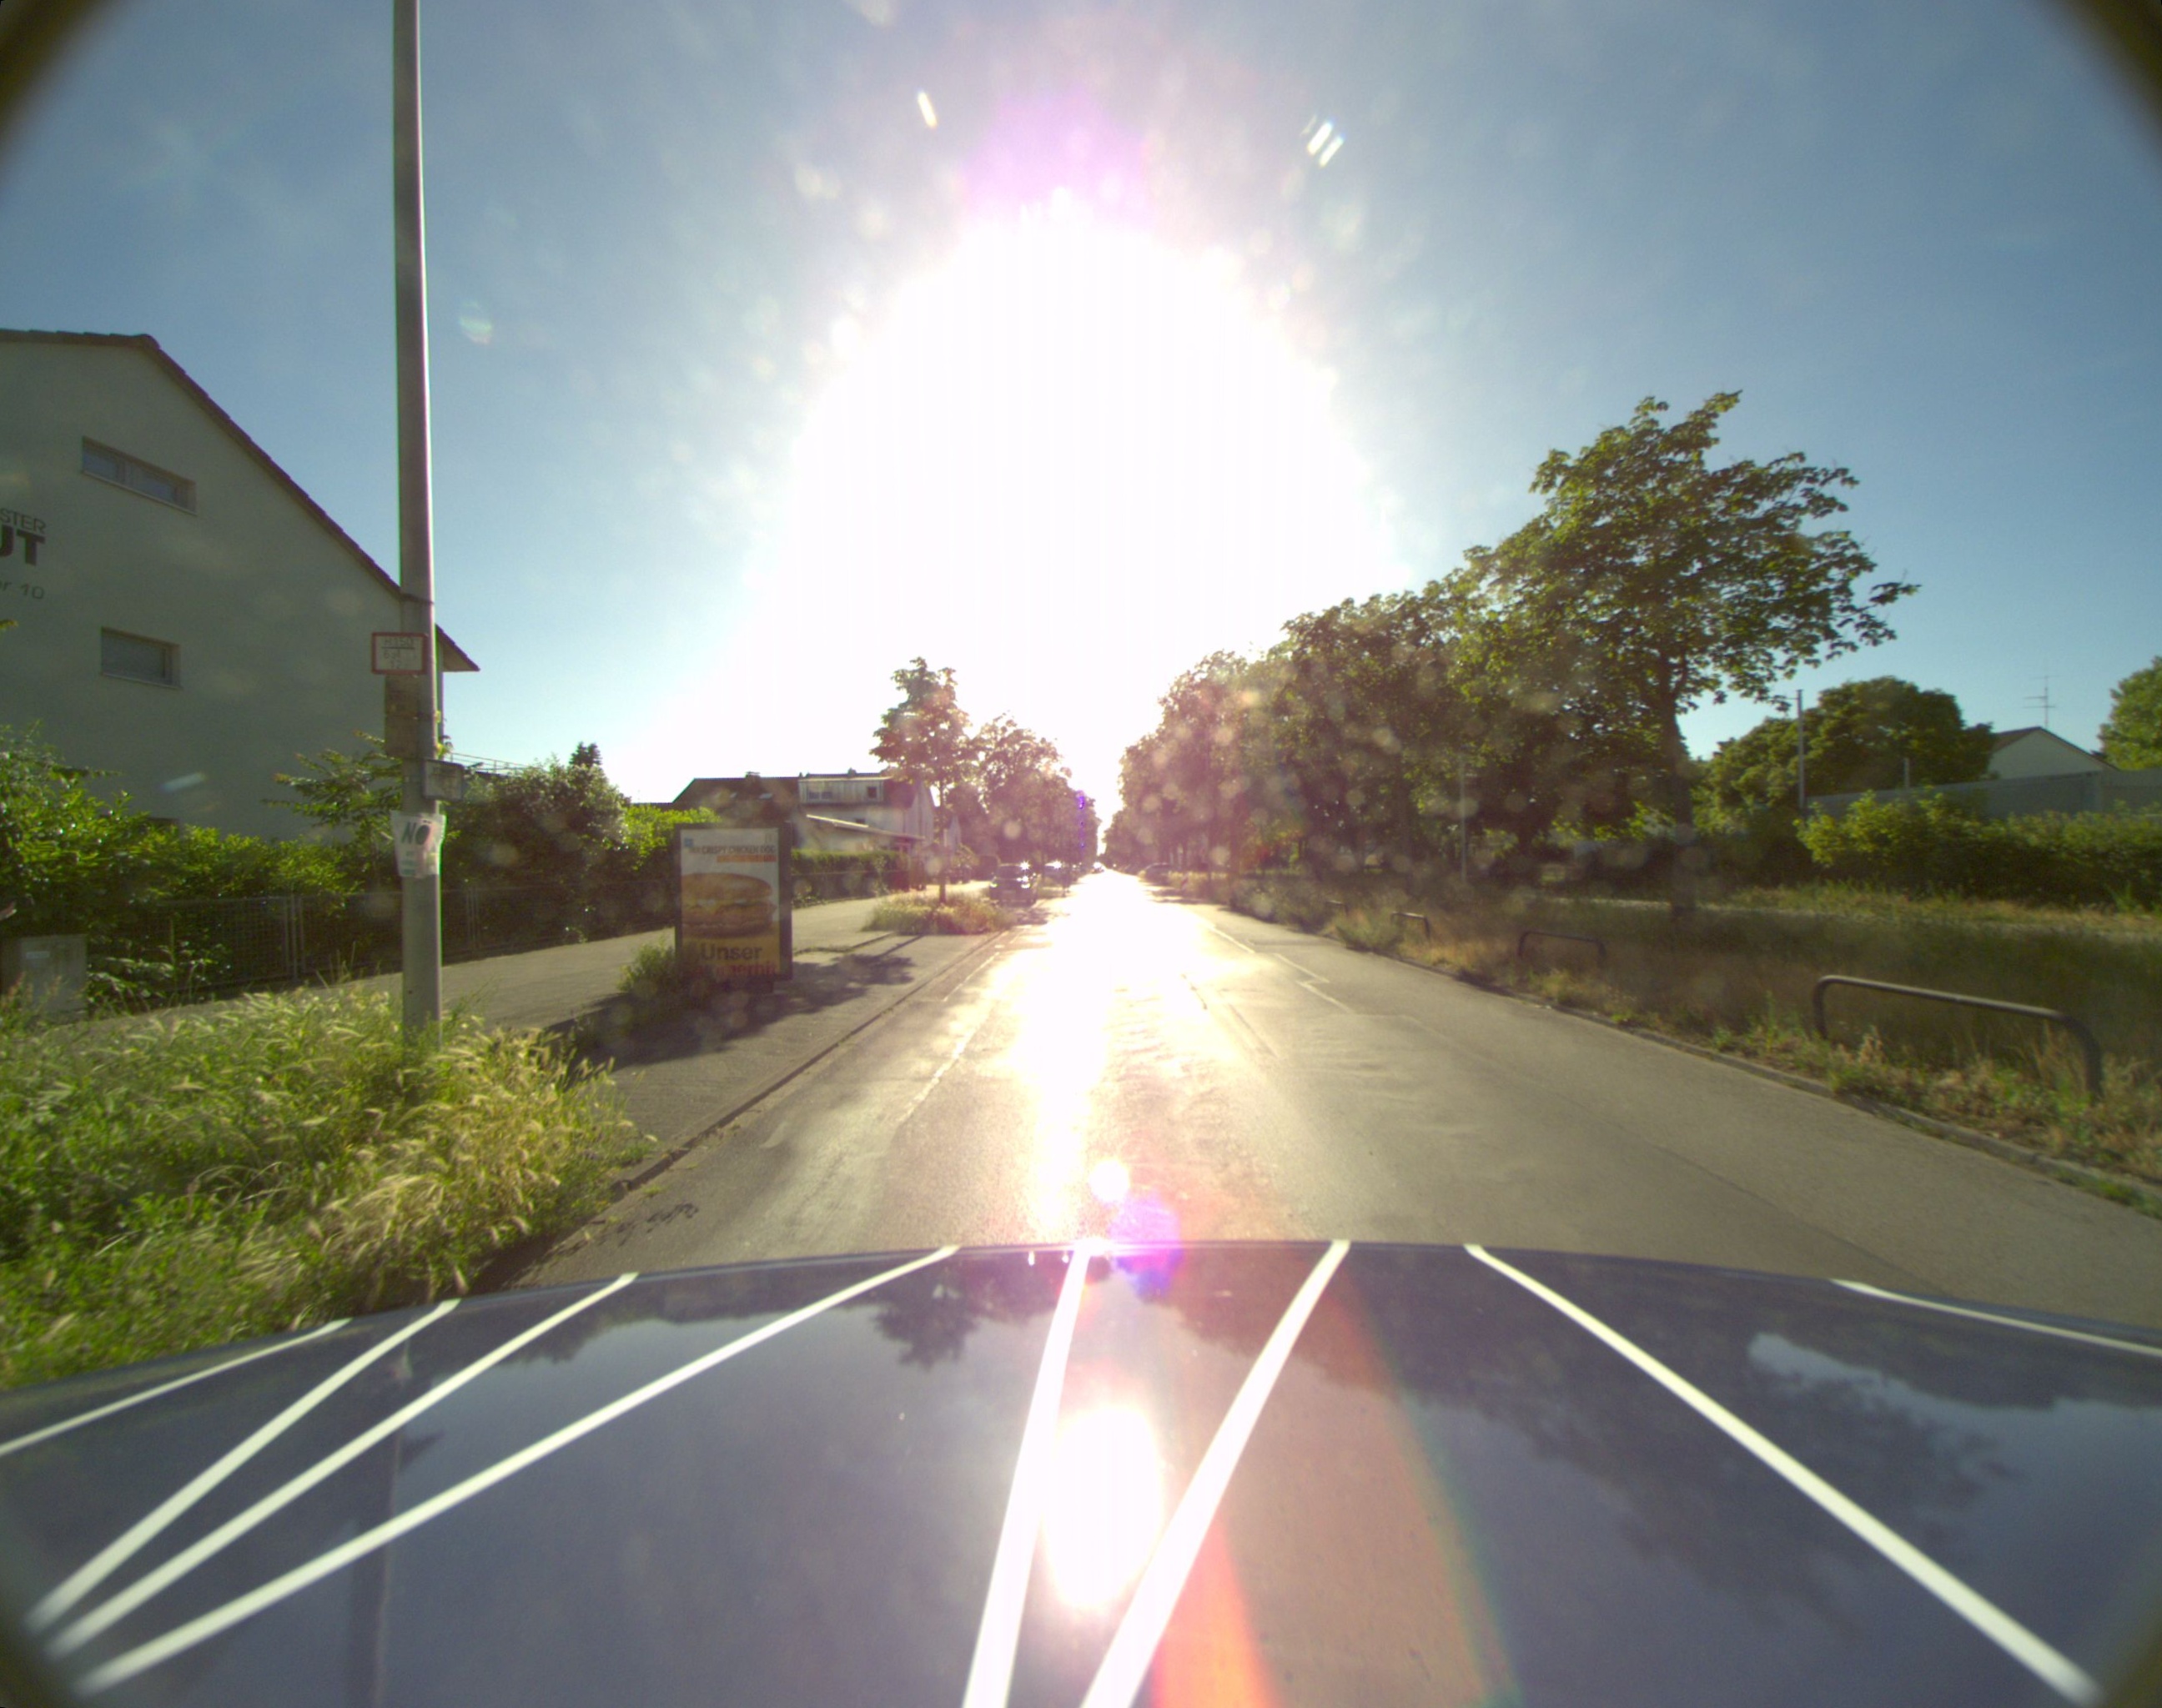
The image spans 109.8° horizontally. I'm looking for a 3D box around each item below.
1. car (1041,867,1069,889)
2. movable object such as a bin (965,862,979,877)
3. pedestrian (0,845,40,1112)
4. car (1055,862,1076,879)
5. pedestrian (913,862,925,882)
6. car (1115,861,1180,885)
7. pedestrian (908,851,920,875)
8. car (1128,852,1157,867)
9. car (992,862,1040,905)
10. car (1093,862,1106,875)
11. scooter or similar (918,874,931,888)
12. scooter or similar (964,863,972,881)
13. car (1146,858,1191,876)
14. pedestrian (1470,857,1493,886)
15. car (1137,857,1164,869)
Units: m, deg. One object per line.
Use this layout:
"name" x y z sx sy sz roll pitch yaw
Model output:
"car" -1.965 1.782 57.830 1.732 1.568 3.859 0 0 4
"movable object such as a bin" -9.754 1.358 68.059 1.172 1.286 0.928 0 1 1
"pedestrian" -7.305 0.812 4.801 0.555 1.722 0.662 -2 1 18
"car" -1.366 1.482 68.118 1.733 1.473 3.858 0 -1 1
"pedestrian" -11.128 1.202 52.210 0.641 1.314 0.574 -4 1 2
"car" 4.792 1.391 55.408 4.615 1.552 2.000 -2 0 2
"pedestrian" -13.143 0.695 59.849 0.672 1.798 0.735 -2 1 2
"car" 11.256 0.940 138.102 5.121 2.596 2.126 -2 1 4
"car" -2.563 1.133 30.546 1.497 1.564 3.601 1 0 1
"car" 3.088 2.407 124.589 1.998 2.002 4.000 -2 0 2
"scooter or similar" -8.654 1.480 42.070 0.450 0.712 1.228 3 0 1
"scooter or similar" -8.184 1.309 54.851 0.503 1.288 0.461 0 1 -2
"car" 8.608 1.262 75.232 4.203 1.552 2.000 -2 0 2
"pedestrian" 16.755 0.733 31.791 0.639 1.151 0.522 -4 1 0
"car" 11.086 1.394 121.489 3.997 1.740 1.890 -2 0 1
